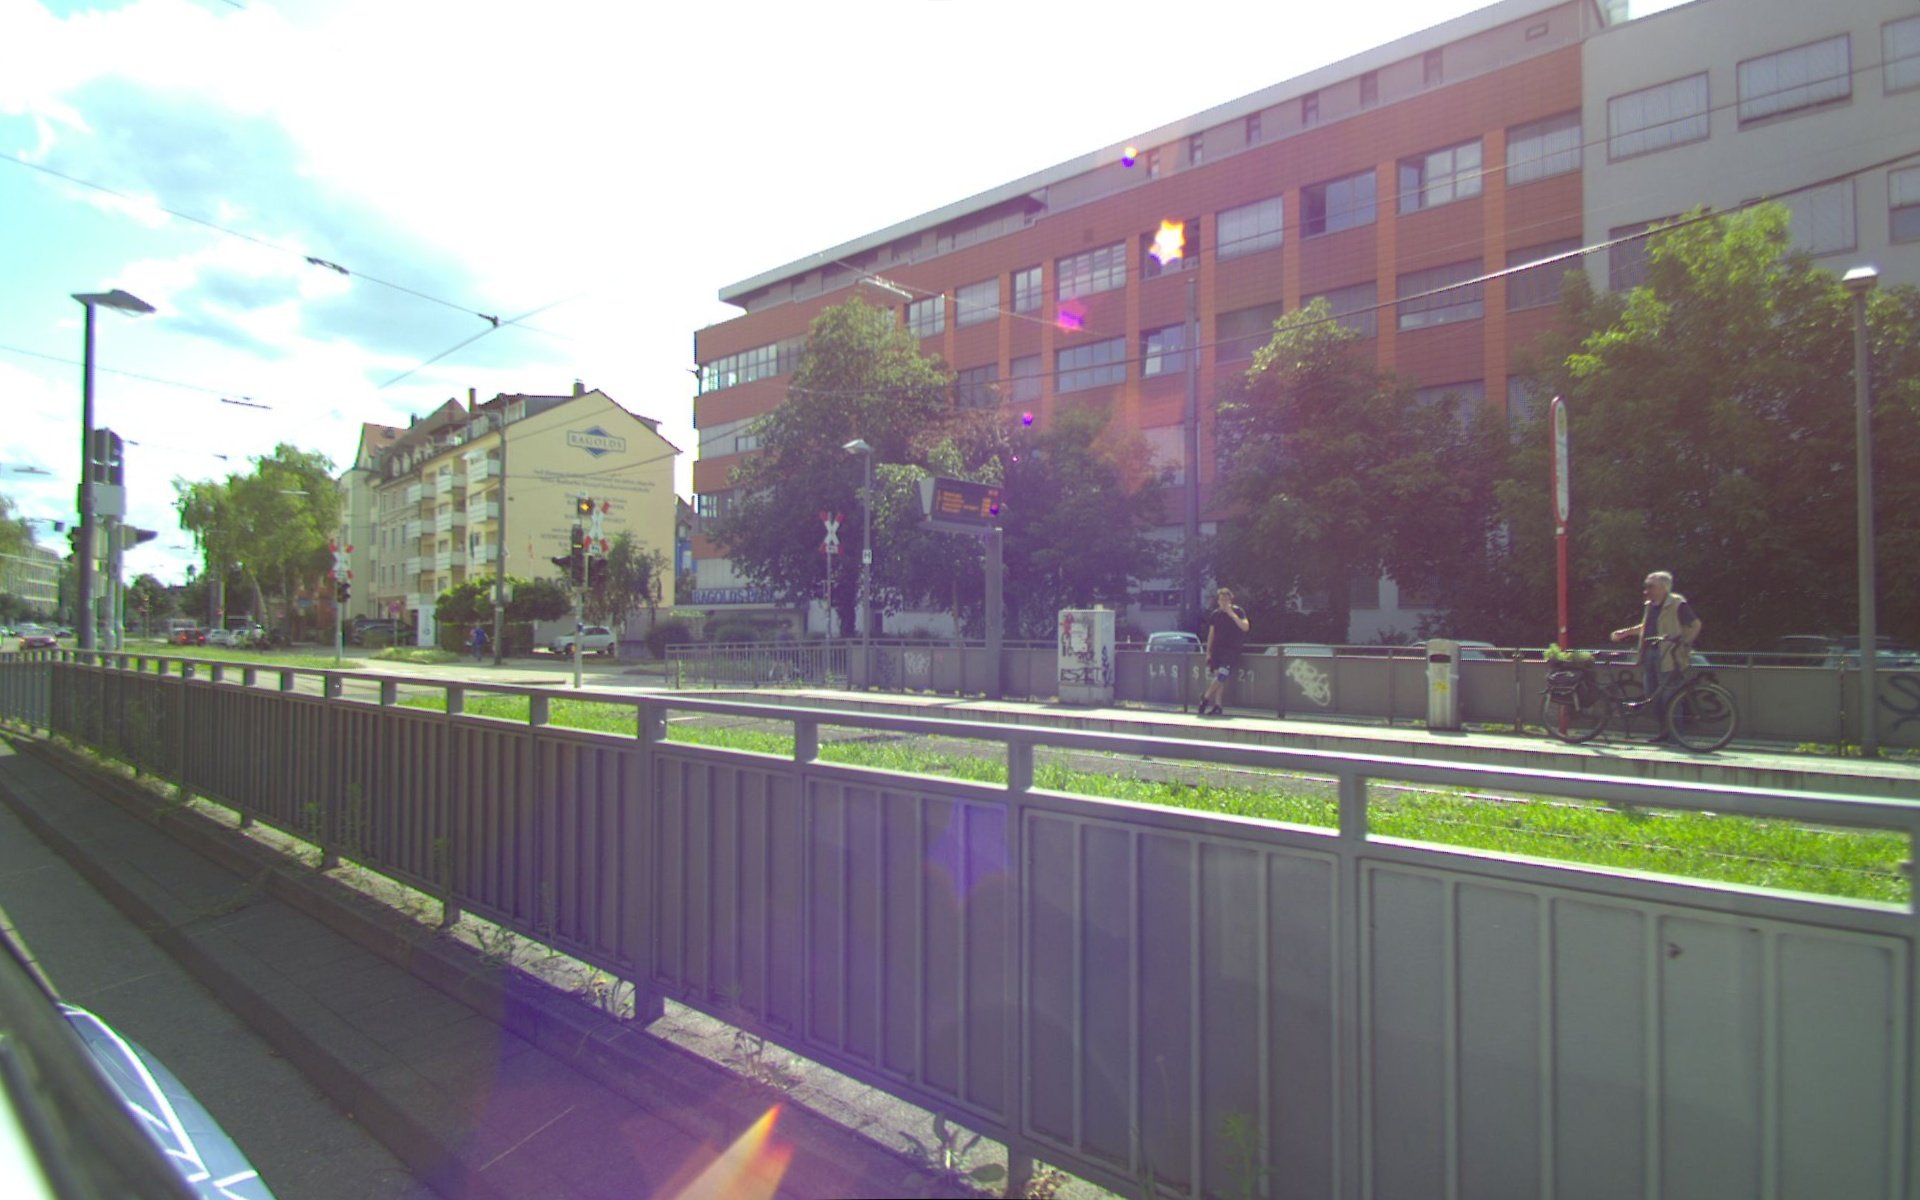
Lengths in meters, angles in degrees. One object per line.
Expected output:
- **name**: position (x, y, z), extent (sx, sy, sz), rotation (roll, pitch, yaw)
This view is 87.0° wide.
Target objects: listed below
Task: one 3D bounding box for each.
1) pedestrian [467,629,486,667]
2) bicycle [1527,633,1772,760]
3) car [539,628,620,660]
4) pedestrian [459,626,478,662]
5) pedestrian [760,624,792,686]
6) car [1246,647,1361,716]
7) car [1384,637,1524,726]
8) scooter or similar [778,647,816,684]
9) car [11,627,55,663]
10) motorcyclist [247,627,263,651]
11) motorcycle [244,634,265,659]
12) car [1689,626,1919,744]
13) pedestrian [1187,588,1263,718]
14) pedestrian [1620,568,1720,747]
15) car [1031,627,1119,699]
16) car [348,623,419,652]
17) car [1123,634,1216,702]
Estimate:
- **pedestrian**: position (-22.252, 2.200, 46.581), extent (0.481, 1.723, 0.641), rotation (-2, -3, 42)
- **bicycle**: position (6.724, 0.900, 9.965), extent (0.653, 1.122, 1.880), rotation (4, -4, -41)
- **car**: position (-19.713, 2.282, 52.458), extent (3.557, 1.491, 1.777), rotation (2, -6, -43)
- **pedestrian**: position (-24.242, 2.169, 49.892), extent (0.588, 1.723, 0.641), rotation (-2, -3, 42)
- **pedestrian**: position (-5.425, 1.624, 29.855), extent (0.619, 1.807, 0.651), rotation (-2, -4, 35)
- **car**: position (7.284, 1.693, 21.750), extent (1.584, 1.314, 3.247), rotation (0, -2, 5)
- **car**: position (9.376, 1.487, 19.473), extent (1.568, 1.431, 3.302), rotation (-1, 0, 10)
- **scooter or similar**: position (-4.913, 1.973, 30.486), extent (0.619, 1.063, 0.976), rotation (-1, -4, 35)
- **car**: position (-57.341, 2.763, 62.621), extent (1.969, 2.029, 4.005), rotation (0, 0, -42)
- **motorcyclist**: position (-41.779, 2.304, 59.977), extent (0.693, 1.368, 0.654), rotation (-1, 0, 43)
- **motorcycle**: position (-41.804, 2.763, 59.980), extent (2.010, 1.414, 0.626), rotation (-1, 0, 43)
- **car**: position (13.891, 1.289, 16.298), extent (1.651, 1.652, 3.994), rotation (2, -2, 5)
- **pedestrian**: position (3.598, 0.705, 13.752), extent (0.798, 1.712, 0.659), rotation (-1, -2, 38)
- **pedestrian**: position (7.270, 0.573, 10.362), extent (0.798, 1.737, 0.632), rotation (-1, -2, 38)
- **car**: position (2.798, 1.529, 25.423), extent (1.850, 1.671, 3.840), rotation (0, -2, 2)
- **car**: position (-42.086, 2.754, 73.901), extent (4.195, 2.029, 2.003), rotation (2, -3, -40)
- **car**: position (5.015, 1.589, 24.641), extent (1.629, 1.508, 3.995), rotation (0, -2, 3)
